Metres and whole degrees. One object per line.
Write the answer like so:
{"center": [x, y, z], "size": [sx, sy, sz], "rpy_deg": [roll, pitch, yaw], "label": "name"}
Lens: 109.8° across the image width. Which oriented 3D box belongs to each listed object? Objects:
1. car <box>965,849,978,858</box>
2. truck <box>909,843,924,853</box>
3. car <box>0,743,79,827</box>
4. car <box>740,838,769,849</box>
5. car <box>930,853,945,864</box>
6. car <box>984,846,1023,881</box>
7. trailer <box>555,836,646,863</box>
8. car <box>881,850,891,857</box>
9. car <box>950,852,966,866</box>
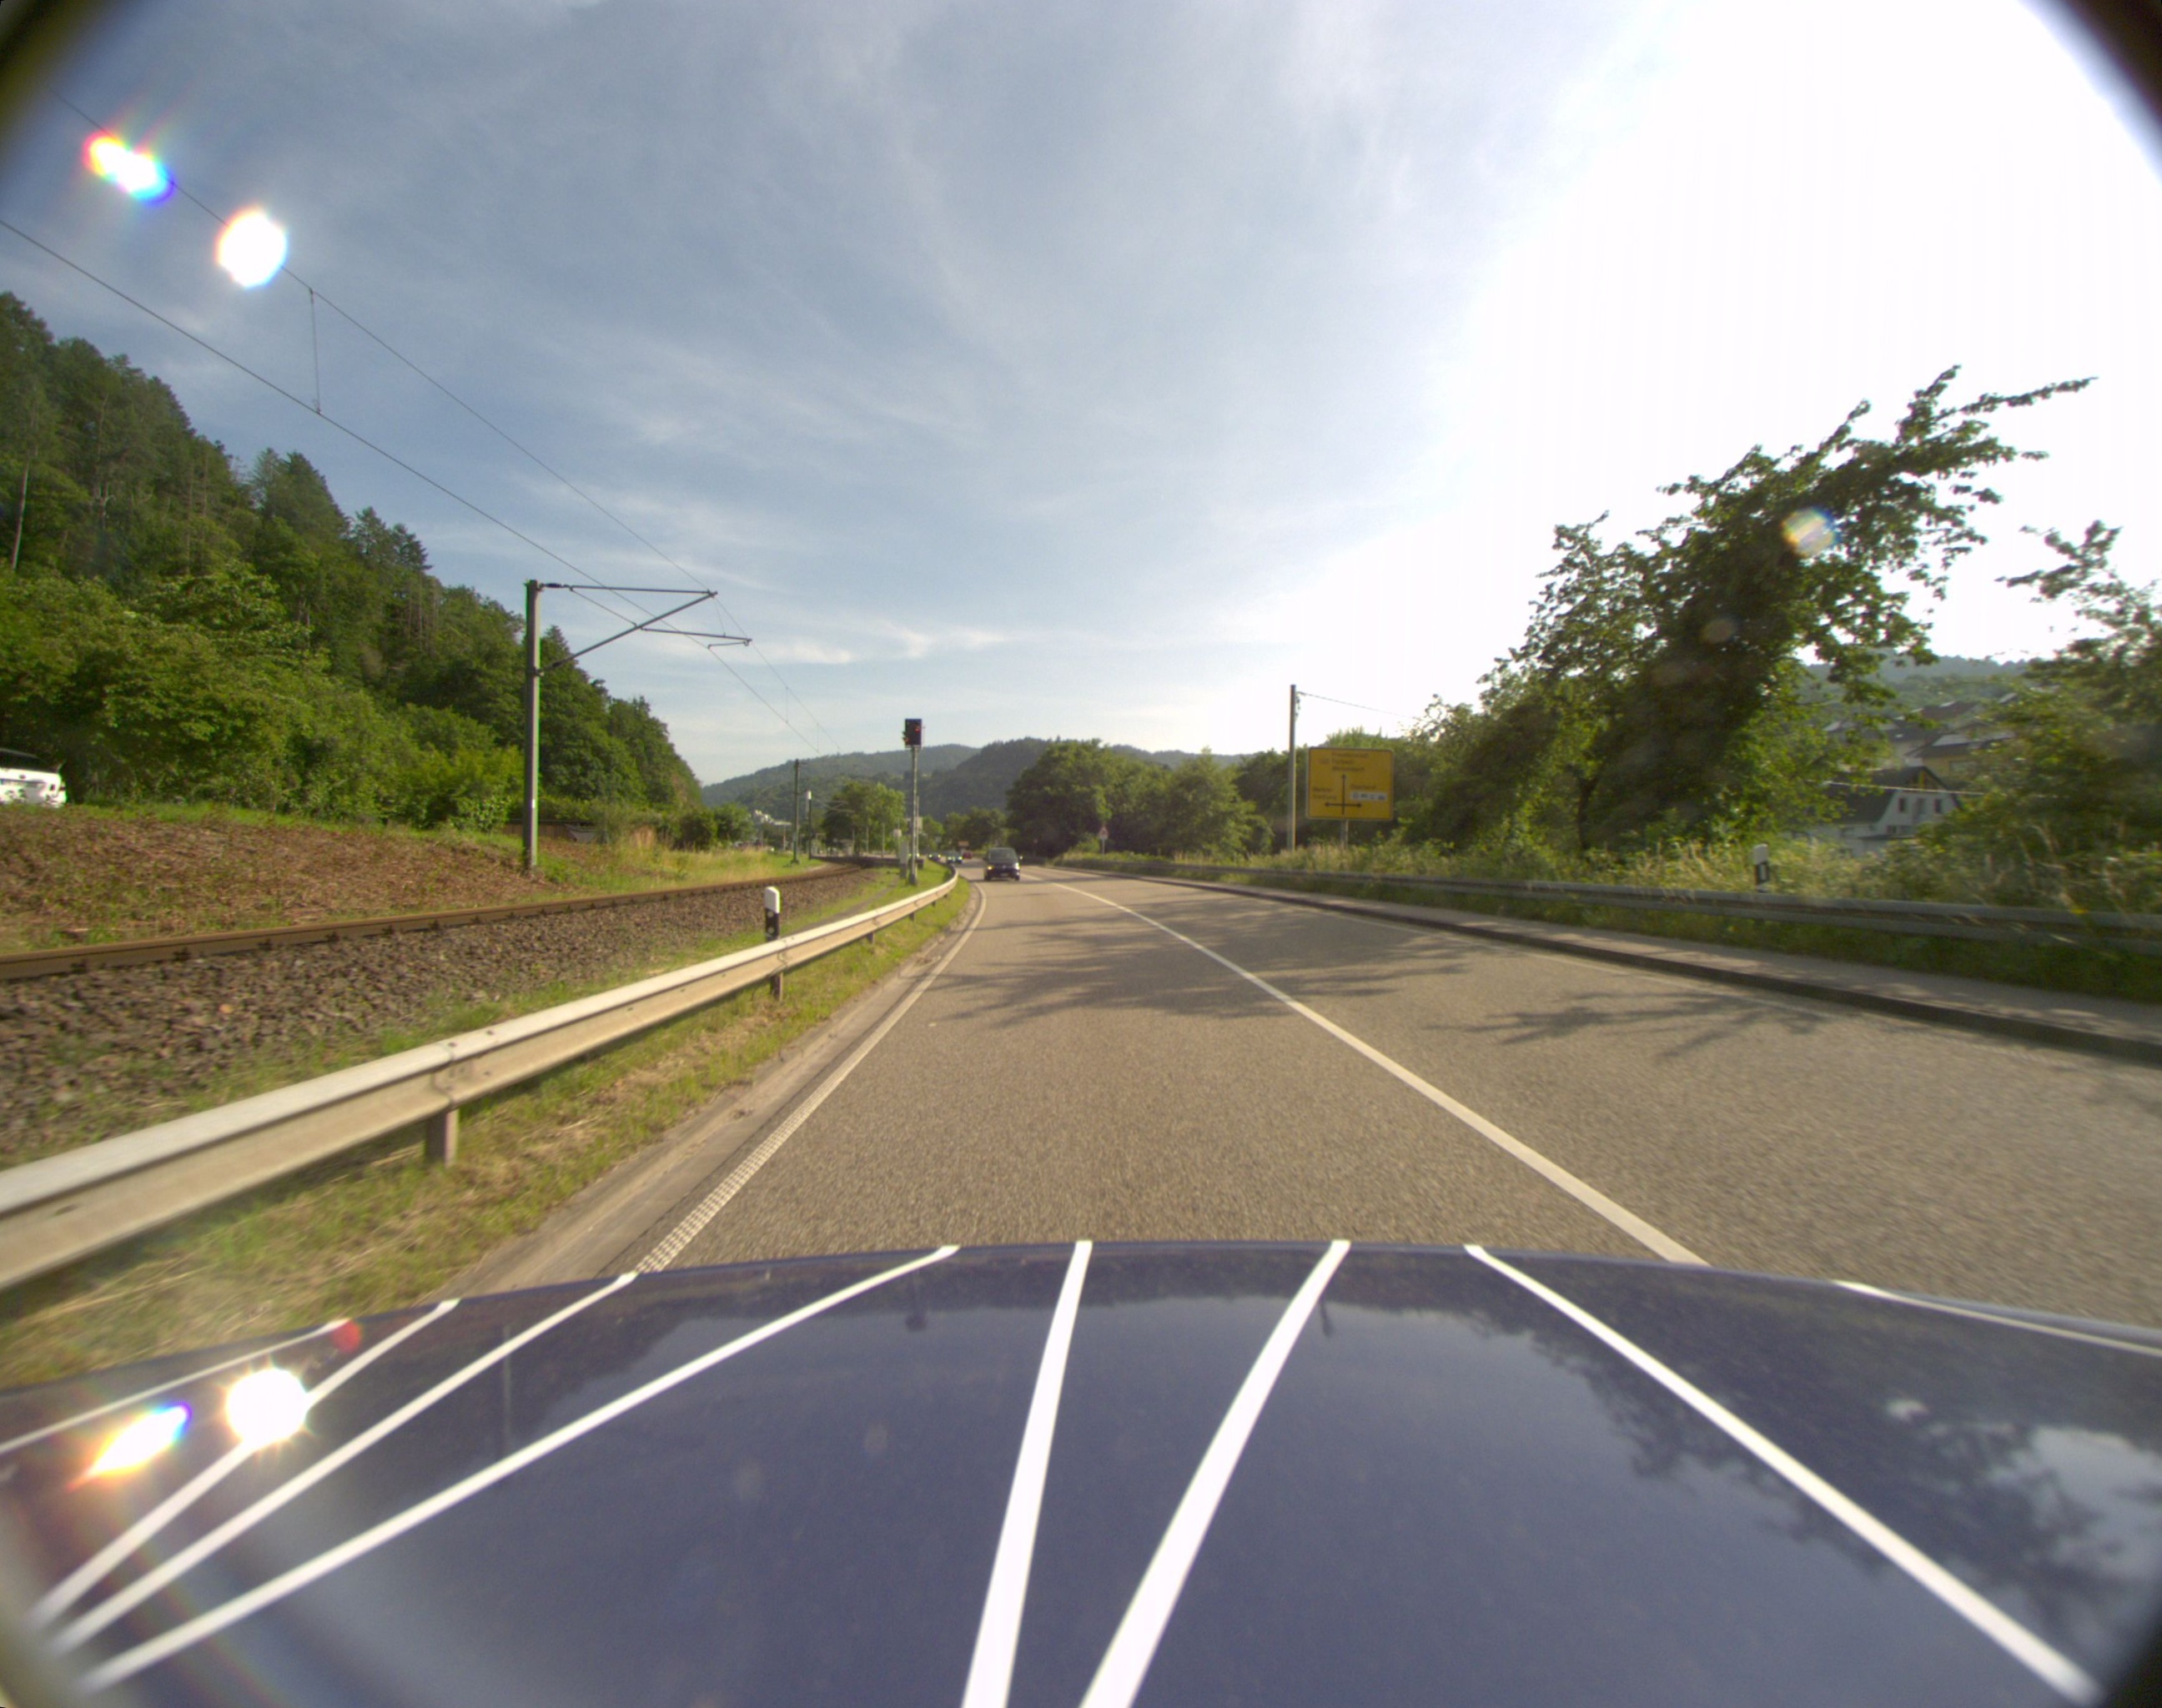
{"center": [-18.131, -0.107, 125.705], "size": [1.639, 1.341, 4.102], "rpy_deg": [-2, 2, -15], "label": "car"}
{"center": [-37.652, -1.384, 173.790], "size": [1.889, 2.272, 4.708], "rpy_deg": [-1, 0, -32], "label": "truck"}
{"center": [-23.236, -1.318, 15.199], "size": [4.465, 1.575, 1.777], "rpy_deg": [-2, 2, 7], "label": "car"}
{"center": [-63.015, -2.029, 146.627], "size": [4.980, 2.002, 1.996], "rpy_deg": [-2, 2, -23], "label": "car"}
{"center": [-23.346, 0.753, 123.729], "size": [1.888, 1.735, 4.172], "rpy_deg": [-2, 0, -18], "label": "car"}
{"center": [-4.675, 0.507, 45.356], "size": [2.020, 1.905, 4.307], "rpy_deg": [-1, 1, -9], "label": "car"}
{"center": [-27.585, -0.248, 43.825], "size": [4.107, 1.026, 2.321], "rpy_deg": [7, -4, -25], "label": "trailer"}
{"center": [-49.979, -0.234, 194.471], "size": [1.889, 1.735, 4.170], "rpy_deg": [-1, 0, -24], "label": "car"}
{"center": [-15.741, 0.598, 96.978], "size": [1.887, 1.735, 4.174], "rpy_deg": [-2, 0, -11], "label": "car"}
